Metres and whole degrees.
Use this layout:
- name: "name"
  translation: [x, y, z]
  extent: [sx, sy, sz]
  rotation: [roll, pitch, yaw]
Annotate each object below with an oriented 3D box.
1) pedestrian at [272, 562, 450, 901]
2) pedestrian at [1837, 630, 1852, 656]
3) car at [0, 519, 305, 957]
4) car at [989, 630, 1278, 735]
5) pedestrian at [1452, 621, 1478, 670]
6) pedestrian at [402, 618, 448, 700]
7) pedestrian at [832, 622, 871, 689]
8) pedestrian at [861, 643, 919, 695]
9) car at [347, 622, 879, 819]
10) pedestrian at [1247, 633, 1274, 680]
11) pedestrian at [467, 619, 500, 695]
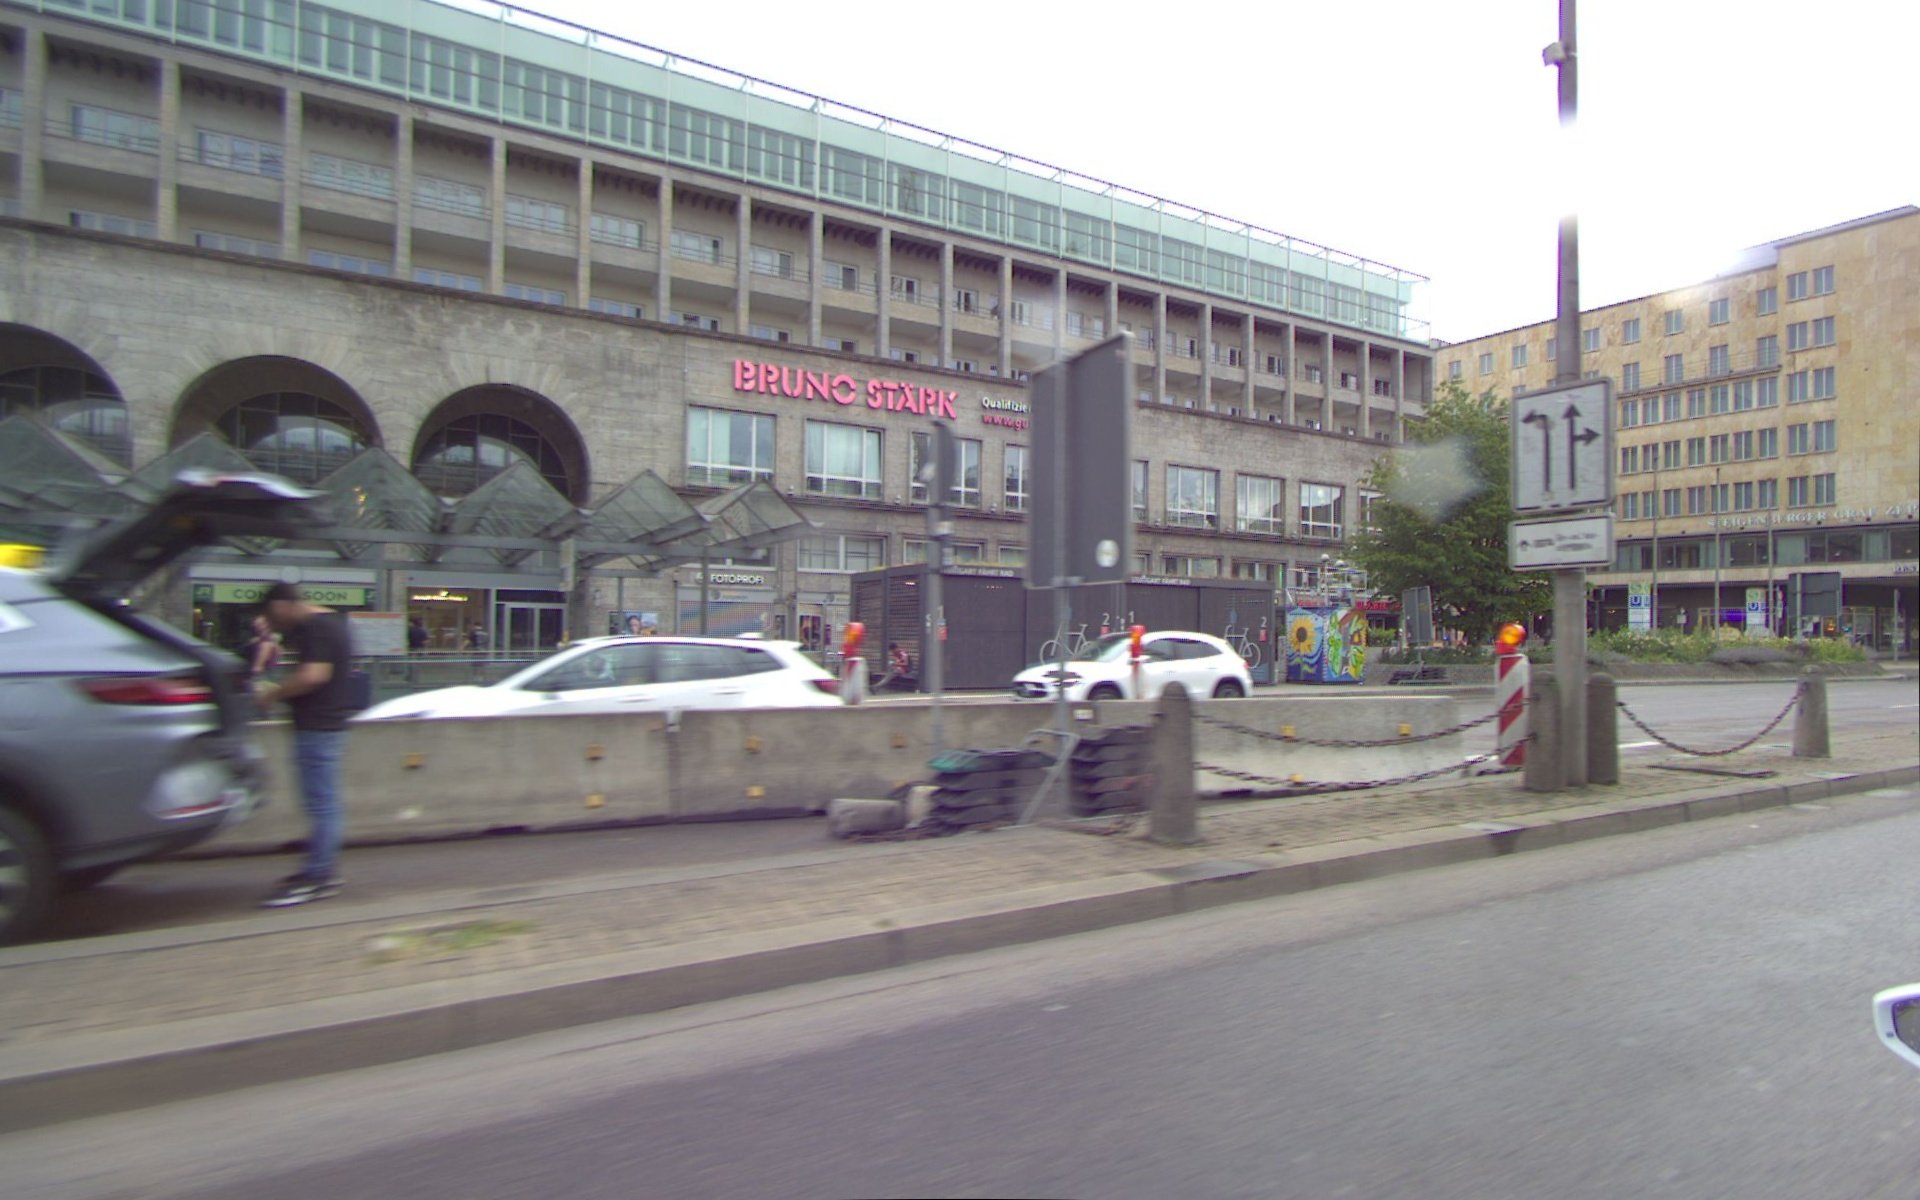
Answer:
- name: "pedestrian"
  translation: [-3.247, 0.665, 5.494]
  extent: [0.754, 1.675, 0.757]
  rotation: [1, -2, -30]
- name: "pedestrian"
  translation: [56.946, 2.789, 64.648]
  extent: [0.688, 1.665, 0.646]
  rotation: [-1, -2, 43]
- name: "car"
  translation: [-5.614, 0.542, 4.125]
  extent: [4.725, 1.744, 1.985]
  rotation: [1, -2, -30]
- name: "car"
  translation: [3.039, 1.342, 17.296]
  extent: [4.779, 1.584, 1.953]
  rotation: [1, -4, -31]
- name: "pedestrian"
  translation: [21.359, 1.916, 42.487]
  extent: [0.783, 2.040, 0.664]
  rotation: [1, -2, -28]
- name: "pedestrian"
  translation: [-14.346, 1.567, 26.951]
  extent: [0.965, 2.154, 0.767]
  rotation: [1, -2, -22]
- name: "pedestrian"
  translation: [-3.160, 1.602, 29.295]
  extent: [0.919, 1.881, 0.716]
  rotation: [1, 0, -30]
- name: "pedestrian"
  translation: [-1.676, 1.641, 24.163]
  extent: [1.246, 1.198, 0.577]
  rotation: [1, 0, -30]
- name: "car"
  translation: [-3.402, 1.066, 10.228]
  extent: [4.779, 1.584, 1.953]
  rotation: [1, -4, -31]
- name: "pedestrian"
  translation: [13.347, 2.495, 44.673]
  extent: [1.061, 2.040, 0.771]
  rotation: [0, -2, 9]
- name: "pedestrian"
  translation: [-13.154, 1.565, 27.707]
  extent: [0.761, 2.068, 0.800]
  rotation: [1, -2, -28]
